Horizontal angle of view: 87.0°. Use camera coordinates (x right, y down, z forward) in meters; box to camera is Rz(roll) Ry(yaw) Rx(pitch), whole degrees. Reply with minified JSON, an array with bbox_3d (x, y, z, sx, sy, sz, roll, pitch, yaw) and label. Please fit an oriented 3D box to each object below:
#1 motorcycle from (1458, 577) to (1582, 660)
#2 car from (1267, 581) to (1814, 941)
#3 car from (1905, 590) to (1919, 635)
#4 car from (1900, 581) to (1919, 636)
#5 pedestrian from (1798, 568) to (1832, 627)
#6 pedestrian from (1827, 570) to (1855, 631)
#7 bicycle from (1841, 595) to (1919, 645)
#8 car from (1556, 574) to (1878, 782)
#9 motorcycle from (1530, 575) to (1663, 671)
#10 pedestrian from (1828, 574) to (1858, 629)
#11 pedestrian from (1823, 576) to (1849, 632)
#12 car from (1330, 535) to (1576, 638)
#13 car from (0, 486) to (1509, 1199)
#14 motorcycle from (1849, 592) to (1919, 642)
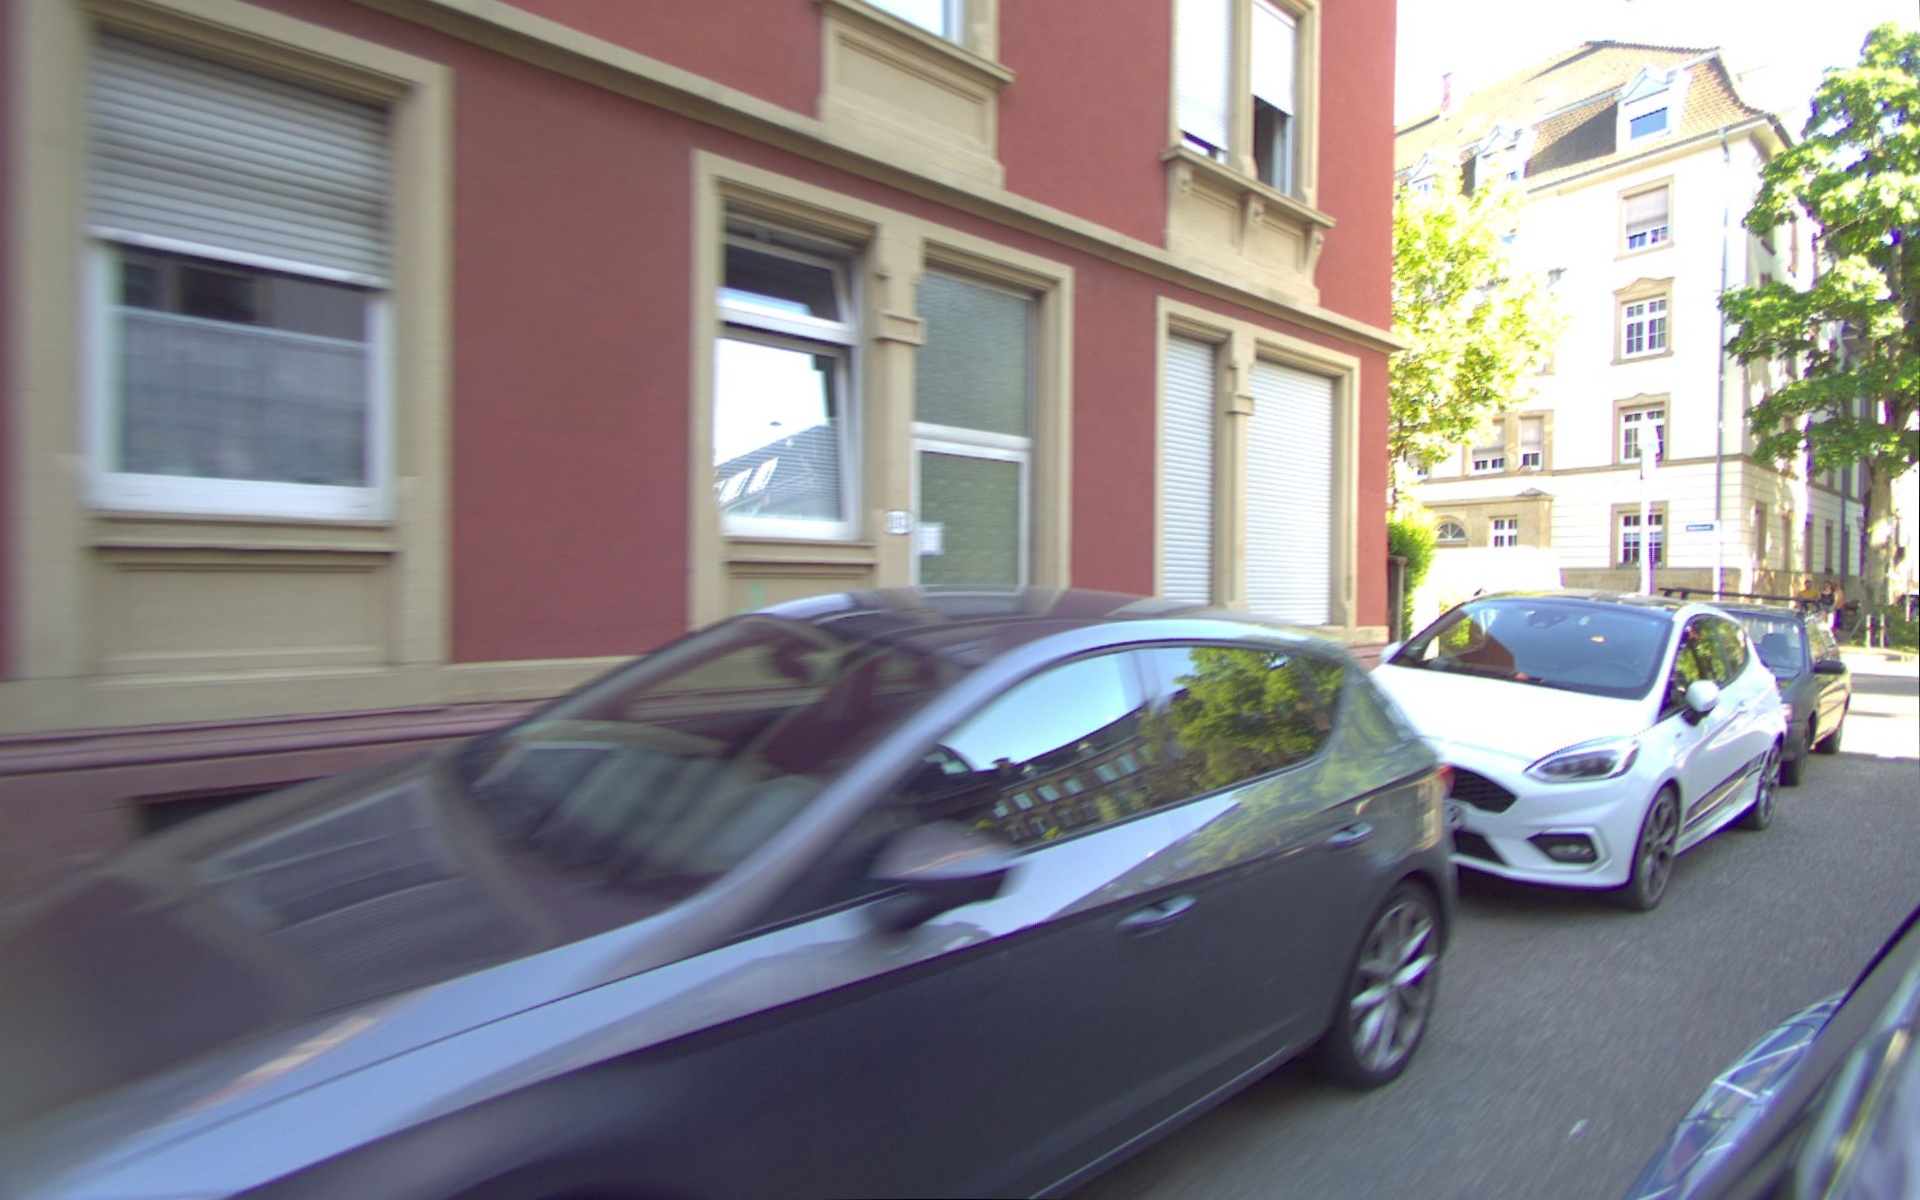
[{"bbox_3d":[10.342,0.305,18.658,2.493,1.422,0.872,0,2,-32],"label":"motorcycle"},{"bbox_3d":[3.718,0.656,6.190,3.901,1.480,1.708,0,2,-41],"label":"car"},{"bbox_3d":[32.812,0.430,33.785,1.724,1.424,3.795,4,3,44],"label":"car"},{"bbox_3d":[29.011,0.269,29.685,4.063,1.559,1.683,0,3,-42],"label":"car"},{"bbox_3d":[25.279,-0.084,29.905,0.804,1.705,0.624,0,1,-42],"label":"pedestrian"},{"bbox_3d":[25.408,0.015,29.192,0.508,1.740,0.519,0,1,-43],"label":"pedestrian"},{"bbox_3d":[24.684,0.518,26.925,0.424,1.176,1.803,1,3,-25],"label":"bicycle"},{"bbox_3d":[7.040,0.549,9.286,3.643,1.501,1.671,0,2,-42],"label":"car"},{"bbox_3d":[11.074,0.389,17.576,2.571,1.544,0.875,1,1,-32],"label":"motorcycle"},{"bbox_3d":[31.026,0.042,35.562,0.704,1.868,0.827,2,2,44],"label":"pedestrian"},{"bbox_3d":[30.160,0.131,34.841,0.694,1.868,0.529,0,1,-40],"label":"pedestrian"},{"bbox_3d":[13.221,-0.459,27.596,2.260,2.498,5.671,0,2,-31],"label":"car"},{"bbox_3d":[-0.269,0.621,2.675,3.997,1.522,1.680,0,2,-40],"label":"car"},{"bbox_3d":[25.393,0.460,27.409,0.667,1.227,1.853,2,3,-43],"label":"motorcycle"}]
